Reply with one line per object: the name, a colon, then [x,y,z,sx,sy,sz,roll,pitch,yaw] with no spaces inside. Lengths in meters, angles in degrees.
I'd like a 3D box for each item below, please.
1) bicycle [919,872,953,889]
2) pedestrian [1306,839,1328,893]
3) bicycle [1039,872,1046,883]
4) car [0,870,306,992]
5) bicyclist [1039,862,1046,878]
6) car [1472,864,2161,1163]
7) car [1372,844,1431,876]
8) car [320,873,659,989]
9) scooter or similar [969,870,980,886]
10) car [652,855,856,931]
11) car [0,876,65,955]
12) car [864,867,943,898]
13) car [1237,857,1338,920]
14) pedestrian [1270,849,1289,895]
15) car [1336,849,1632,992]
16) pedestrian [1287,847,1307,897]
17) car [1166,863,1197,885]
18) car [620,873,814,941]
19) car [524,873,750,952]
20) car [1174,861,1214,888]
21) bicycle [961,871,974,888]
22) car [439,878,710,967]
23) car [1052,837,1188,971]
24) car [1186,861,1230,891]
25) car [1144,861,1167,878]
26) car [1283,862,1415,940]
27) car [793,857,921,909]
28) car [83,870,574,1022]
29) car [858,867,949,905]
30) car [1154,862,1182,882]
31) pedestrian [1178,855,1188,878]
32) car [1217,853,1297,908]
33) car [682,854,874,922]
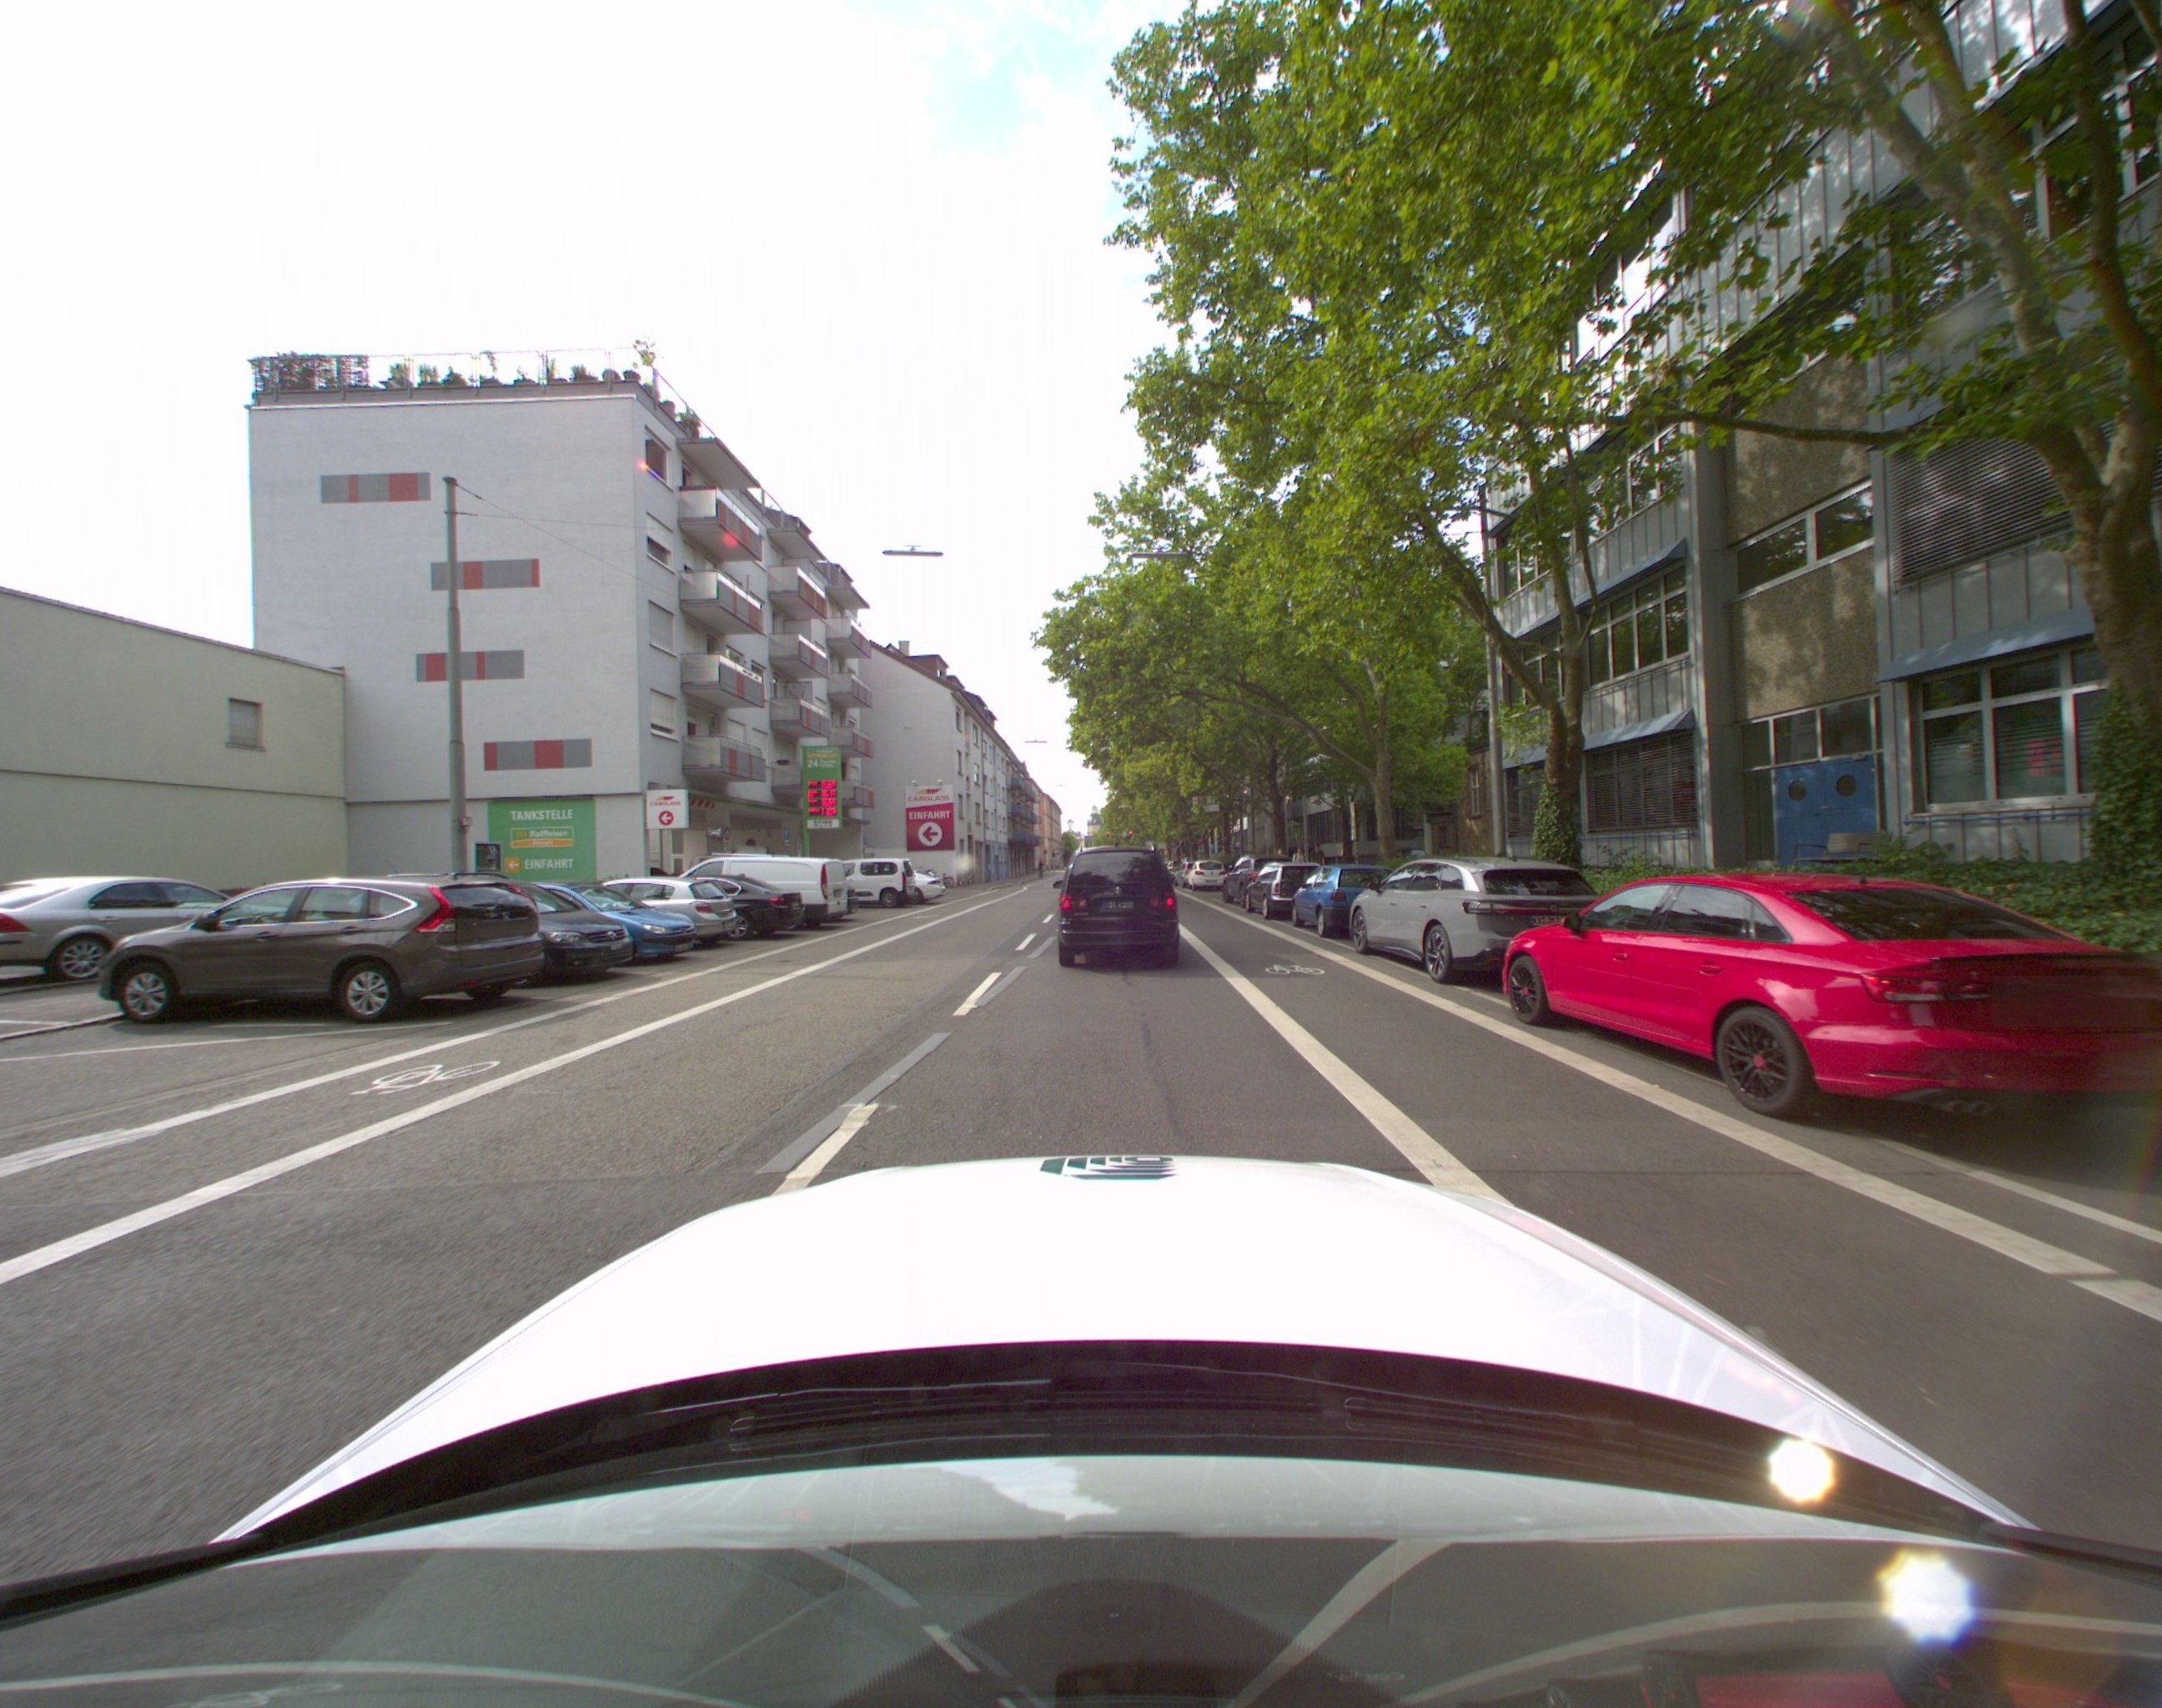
bicycle: [-8.960,1.623,50.263,2.000,1.034,0.410,0,1,3]
pedestrian: [8.743,0.450,30.152,0.640,1.975,0.693,0,1,2]
bicycle: [-3.888,2.375,82.004,0.629,1.034,2.014,-1,-3,-1]
car: [-14.921,1.051,12.579,1.751,1.519,4.236,0,0,2]
bicyclist: [-3.907,1.614,82.299,0.651,1.611,0.655,-1,-3,-1]
car: [4.837,0.794,6.152,1.670,1.394,4.461,-1,0,1]
car: [15.706,0.265,40.108,1.466,1.458,3.919,0,1,2]
car: [-8.858,1.104,12.421,3.923,1.569,1.755,0,0,3]
scooter or similar: [-7.142,1.628,54.685,0.630,1.034,2.012,-1,-3,-4]
car: [-8.516,0.989,21.515,4.508,1.878,2.048,0,-1,2]
car: [-19.769,1.120,13.144,1.808,1.332,3.995,0,1,-4]
car: [-8.221,1.325,37.976,3.332,1.402,1.503,0,-1,-1]
car: [5.371,0.866,21.720,1.624,1.470,4.317,-2,-1,1]
pedestrian: [7.386,0.656,30.330,0.585,1.702,0.508,0,1,2]
car: [5.131,0.754,11.260,1.722,1.517,4.871,-1,-1,1]
pedestrian: [8.041,0.658,30.358,0.585,1.838,0.693,0,1,3]
car: [6.878,1.348,56.037,1.637,1.413,3.413,0,-1,-2]
car: [-8.346,1.198,18.914,3.669,1.444,1.753,0,0,1]
car: [-9.042,1.165,16.801,3.669,1.485,1.753,0,0,0]
car: [6.178,1.118,44.748,1.637,1.413,3.413,0,-1,-2]
bicycle: [-7.205,1.616,51.696,0.629,1.034,2.014,0,-1,-2]
car: [-8.838,1.175,14.453,3.669,1.426,1.753,0,0,0]
car: [0.496,0.697,12.873,1.807,1.766,3.735,-1,-1,-1]
car: [6.221,1.045,40.283,1.669,1.394,4.463,0,-1,2]
car: [6.941,1.435,76.327,1.637,1.487,3.510,-1,-1,-2]
car: [5.428,0.882,16.977,1.615,1.386,4.003,1,0,3]
car: [-8.396,1.071,30.773,4.293,1.870,1.824,0,-1,0]
car: [-8.998,1.054,10.045,4.240,1.605,1.969,0,1,2]
car: [-7.185,1.278,33.124,3.332,1.497,1.596,0,-1,-1]
car: [6.524,1.337,61.258,1.637,1.395,3.510,0,-1,-2]
pedestrian: [8.268,1.001,66.044,0.764,1.831,0.516,-2,-1,2]
car: [5.725,0.828,26.930,1.663,1.640,4.503,1,-1,0]
car: [-8.922,0.986,24.284,4.899,1.903,2.000,0,-1,1]
